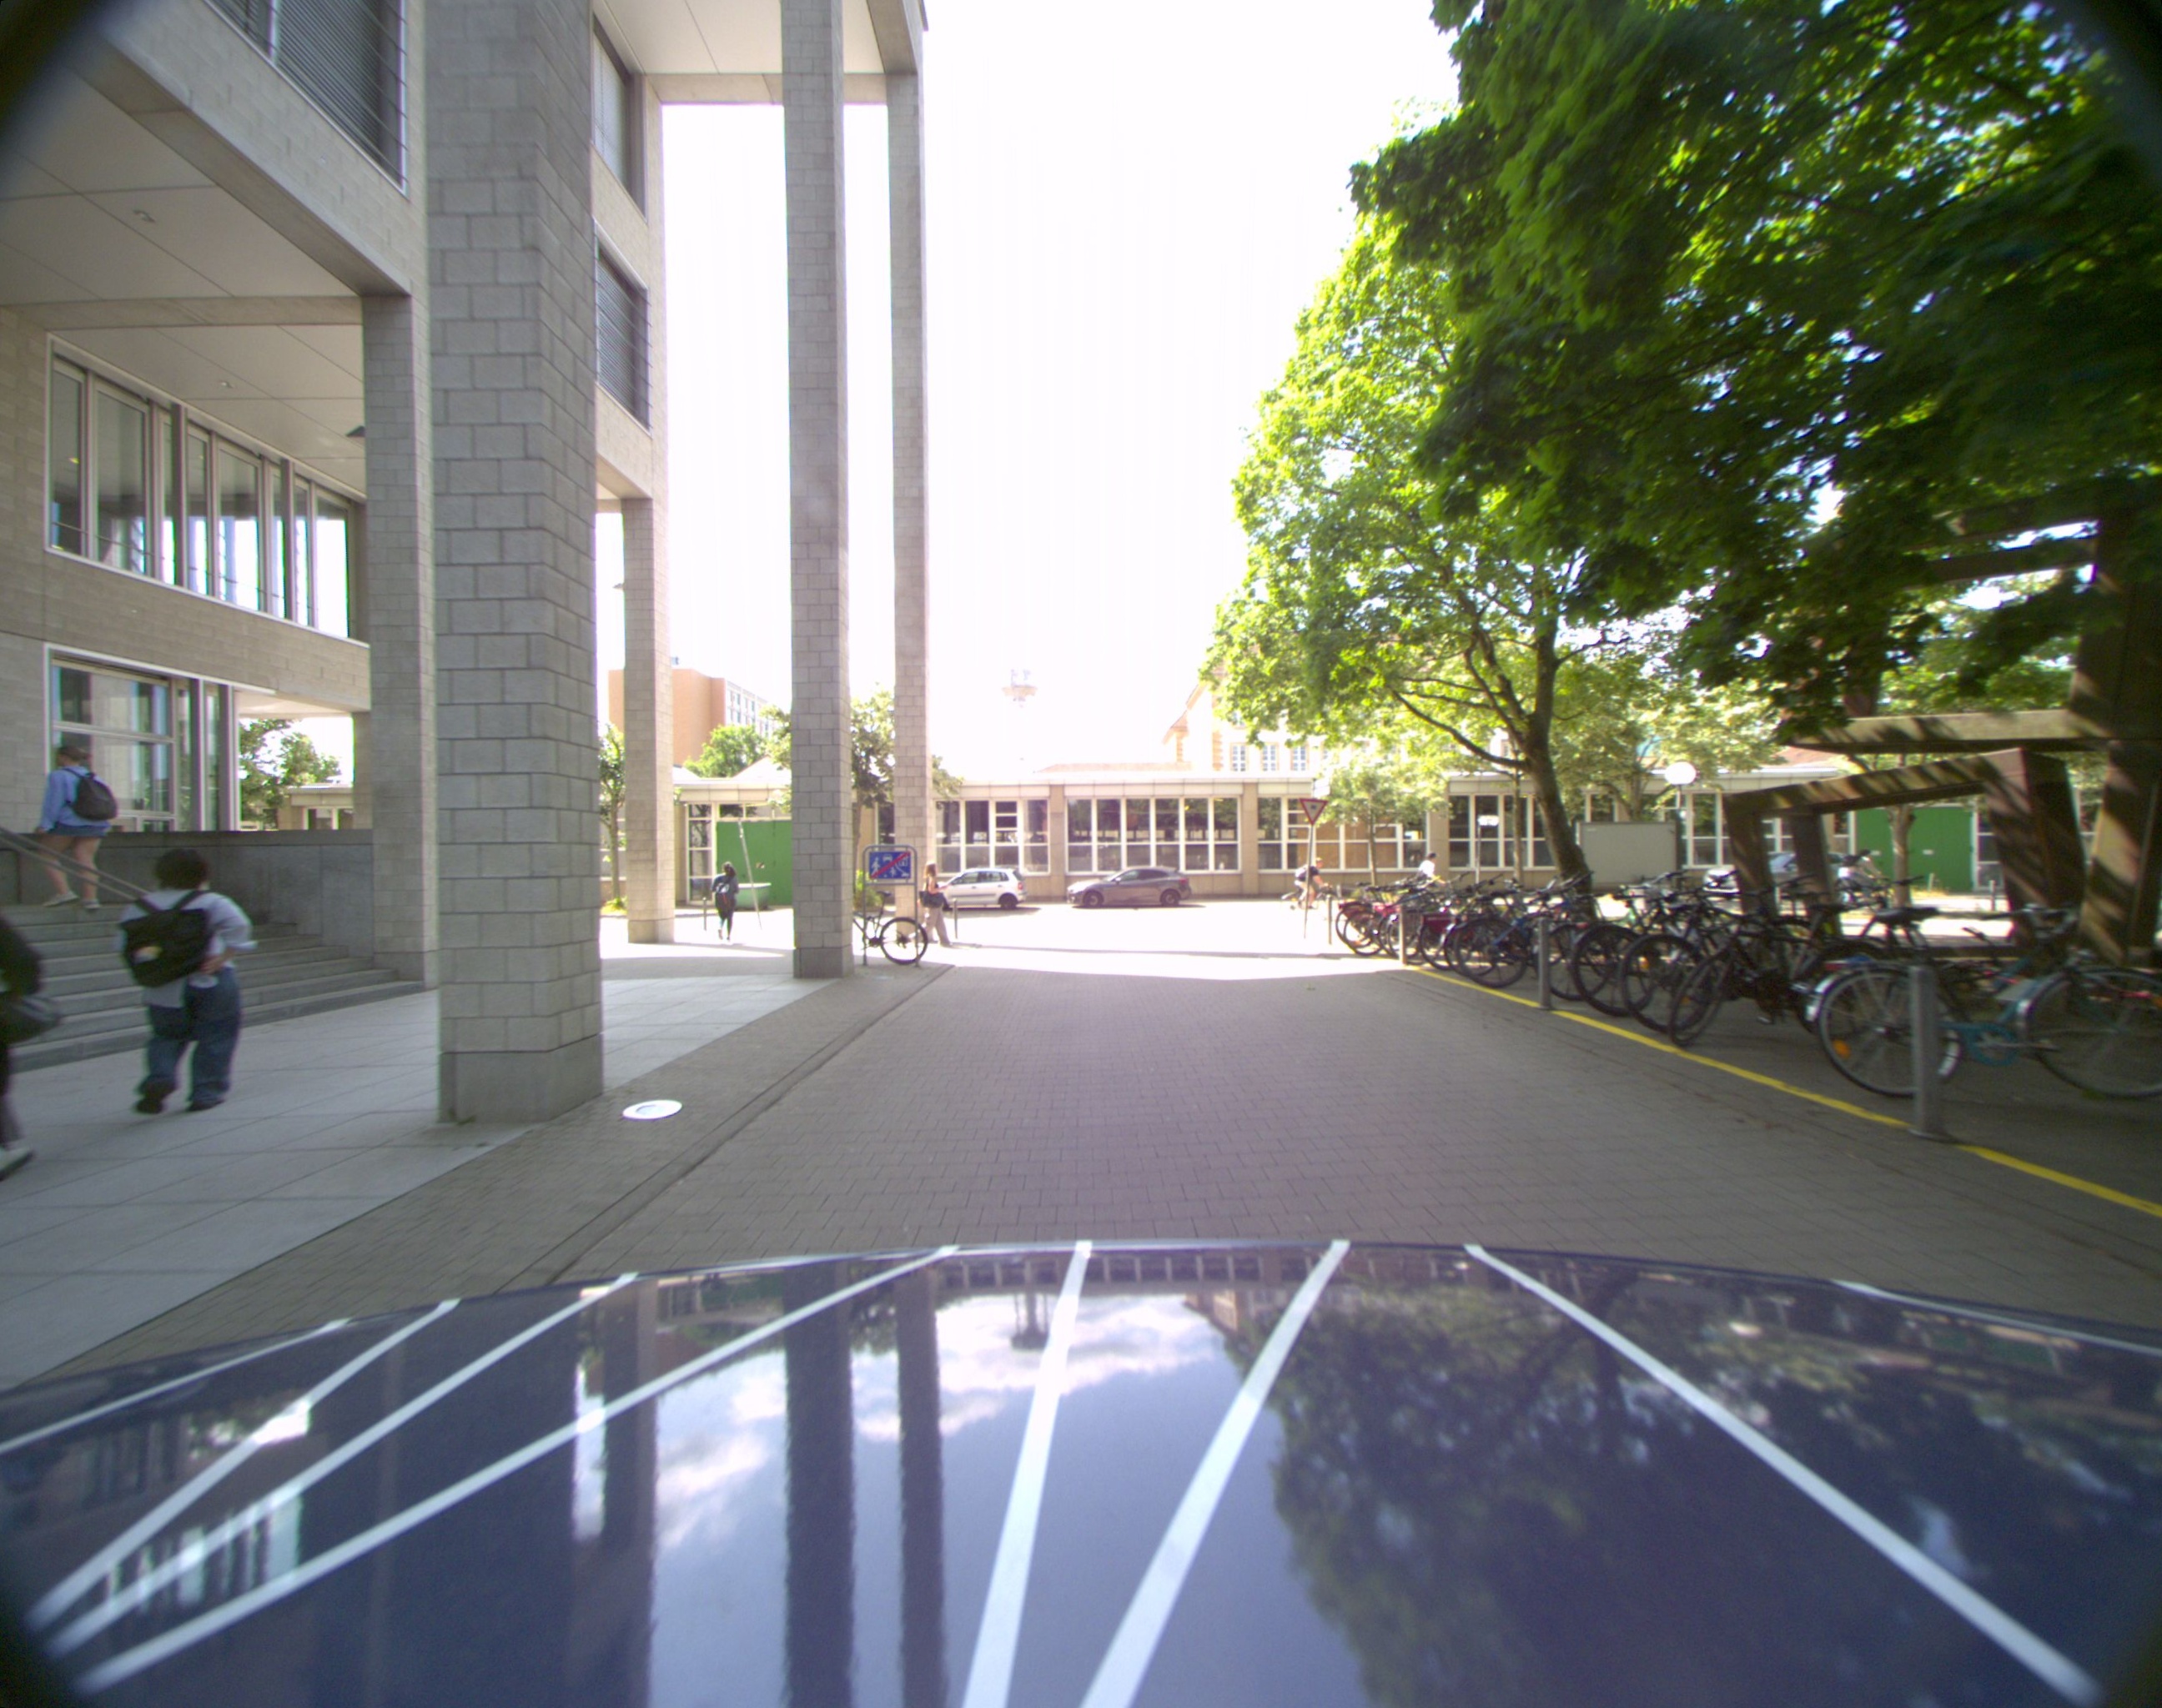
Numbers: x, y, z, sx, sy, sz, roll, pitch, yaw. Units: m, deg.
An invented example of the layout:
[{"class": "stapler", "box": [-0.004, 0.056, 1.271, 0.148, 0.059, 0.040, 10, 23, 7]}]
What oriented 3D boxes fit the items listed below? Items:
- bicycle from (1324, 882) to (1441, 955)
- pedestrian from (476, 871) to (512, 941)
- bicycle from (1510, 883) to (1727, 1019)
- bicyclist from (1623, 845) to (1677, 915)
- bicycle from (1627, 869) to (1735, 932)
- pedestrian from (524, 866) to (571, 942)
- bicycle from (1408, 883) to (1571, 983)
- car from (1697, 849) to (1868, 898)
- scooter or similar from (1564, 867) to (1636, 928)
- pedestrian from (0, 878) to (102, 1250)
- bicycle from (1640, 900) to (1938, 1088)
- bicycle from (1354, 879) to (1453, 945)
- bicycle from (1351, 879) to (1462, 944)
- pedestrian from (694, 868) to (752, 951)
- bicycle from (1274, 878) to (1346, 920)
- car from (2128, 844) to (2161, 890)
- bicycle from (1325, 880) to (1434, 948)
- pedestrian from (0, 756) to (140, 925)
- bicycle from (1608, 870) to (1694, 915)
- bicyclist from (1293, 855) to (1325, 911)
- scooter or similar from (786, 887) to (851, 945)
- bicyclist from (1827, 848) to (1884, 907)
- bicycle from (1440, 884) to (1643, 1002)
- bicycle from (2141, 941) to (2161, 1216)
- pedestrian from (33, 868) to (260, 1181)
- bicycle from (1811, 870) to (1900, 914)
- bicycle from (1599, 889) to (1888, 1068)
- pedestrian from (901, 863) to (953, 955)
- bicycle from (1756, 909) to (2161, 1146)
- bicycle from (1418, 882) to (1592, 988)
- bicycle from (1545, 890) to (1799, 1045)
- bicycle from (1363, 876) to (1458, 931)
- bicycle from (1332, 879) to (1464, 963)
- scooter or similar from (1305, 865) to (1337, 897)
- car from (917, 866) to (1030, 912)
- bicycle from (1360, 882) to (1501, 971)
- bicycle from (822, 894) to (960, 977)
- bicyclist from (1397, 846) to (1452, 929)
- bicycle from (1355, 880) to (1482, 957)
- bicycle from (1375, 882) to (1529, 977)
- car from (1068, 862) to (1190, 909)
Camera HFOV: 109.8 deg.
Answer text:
[{"class": "bicycle", "box": [4.749, 1.004, 12.034, 1.628, 1.101, 0.497, -1, -1, 0]}, {"class": "pedestrian", "box": [-13.890, 1.214, 17.972, 0.591, 1.589, 0.824, -1, 0, -43]}, {"class": "bicycle", "box": [4.930, 0.877, 7.022, 1.628, 1.144, 0.497, -2, 1, 1]}, {"class": "bicyclist", "box": [15.725, 0.694, 21.024, 0.969, 1.877, 0.675, -2, 1, -2]}, {"class": "bicycle", "box": [11.280, 0.866, 14.297, 1.839, 1.101, 0.393, -2, 1, -6]}, {"class": "pedestrian", "box": [-12.414, 1.135, 17.683, 0.781, 1.714, 0.858, -1, 0, -41]}, {"class": "bicycle", "box": [4.843, 0.931, 9.075, 1.628, 1.101, 0.506, -2, 1, 5]}, {"class": "car", "box": [25.132, 0.664, 27.338, 4.536, 1.608, 1.837, -1, 1, -2]}, {"class": "scooter or similar", "box": [10.589, 0.875, 15.514, 1.182, 1.188, 0.293, -1, 0, 36]}, {"class": "pedestrian", "box": [-5.205, 0.931, 3.409, 0.809, 1.608, 0.739, -1, 1, -37]}, {"class": "bicycle", "box": [4.741, 0.906, 5.124, 1.629, 1.101, 0.497, -2, 1, -5]}, {"class": "bicycle", "box": [5.999, 1.067, 14.158, 1.625, 1.152, 0.641, -2, -2, 29]}, {"class": "bicycle", "box": [5.787, 1.008, 13.537, 1.742, 1.101, 0.591, -2, -2, 30]}, {"class": "pedestrian", "box": [-7.088, 1.075, 15.074, 0.820, 1.565, 0.880, -1, 0, -11]}, {"class": "bicycle", "box": [6.370, 1.247, 21.178, 1.829, 1.102, 0.605, -1, 2, 2]}, {"class": "car", "box": [40.985, 0.427, 27.227, 4.536, 1.624, 1.838, -1, 0, -2]}, {"class": "bicycle", "box": [5.055, 1.015, 12.928, 1.628, 1.101, 0.497, -1, -1, 0]}, {"class": "pedestrian", "box": [-10.827, -0.131, 8.047, 0.866, 1.714, 0.644, -1, 0, -4]}, {"class": "bicycle", "box": [15.750, 1.065, 21.031, 1.885, 1.134, 0.675, -2, 1, -2]}, {"class": "bicyclist", "box": [6.351, 0.795, 21.169, 0.727, 1.526, 0.605, -1, 2, 2]}, {"class": "scooter or similar", "box": [-5.400, 1.268, 15.663, 1.157, 1.144, 0.444, -1, 0, 5]}, {"class": "bicyclist", "box": [20.916, 0.615, 20.525, 0.874, 1.565, 0.640, -1, 2, -4]}, {"class": "bicycle", "box": [4.680, 0.894, 7.807, 1.628, 1.101, 0.691, -2, 1, 5]}, {"class": "bicycle", "box": [5.086, 0.889, 2.658, 1.627, 1.101, 0.563, -2, 1, 14]}, {"class": "pedestrian", "box": [-5.598, 0.922, 4.621, 0.676, 1.660, 0.897, -1, 0, -39]}, {"class": "bicycle", "box": [20.923, 1.017, 20.545, 1.819, 1.102, 0.640, -1, 2, -4]}, {"class": "bicycle", "box": [4.870, 0.885, 5.619, 1.784, 1.155, 0.497, -2, 1, -5]}, {"class": "pedestrian", "box": [-2.852, 0.996, 14.152, 0.882, 1.645, 0.702, -1, 0, -7]}, {"class": "bicycle", "box": [4.943, 0.894, 4.163, 1.724, 1.101, 0.719, -2, 1, 11]}, {"class": "bicycle", "box": [4.724, 0.901, 8.528, 1.628, 1.101, 0.497, -2, 1, 5]}, {"class": "bicycle", "box": [4.825, 0.897, 6.254, 1.629, 1.101, 0.645, -2, 1, -5]}, {"class": "bicycle", "box": [7.638, 1.124, 17.638, 1.886, 1.165, 0.804, -1, 1, -9]}, {"class": "bicycle", "box": [4.474, 0.942, 10.780, 1.628, 1.101, 0.497, -2, 1, 5]}, {"class": "scooter or similar", "box": [9.563, 1.076, 30.235, 1.157, 1.219, 0.290, -1, 0, 3]}, {"class": "car", "box": [-3.802, 1.221, 27.254, 3.776, 1.468, 1.653, -1, 2, 0]}, {"class": "bicycle", "box": [4.673, 0.963, 10.210, 1.628, 1.101, 0.497, -2, 1, 5]}, {"class": "bicycle", "box": [-2.761, 1.180, 11.176, 1.886, 1.157, 0.605, 1, -1, -5]}, {"class": "bicyclist", "box": [7.974, 0.762, 17.677, 0.868, 1.880, 0.804, 0, 0, -9]}, {"class": "bicycle", "box": [4.959, 0.949, 11.256, 1.627, 1.101, 0.497, -1, -2, 12]}, {"class": "bicycle", "box": [4.672, 0.944, 9.646, 1.628, 1.101, 0.629, -2, 1, 5]}, {"class": "car", "box": [1.676, 1.102, 27.378, 4.208, 1.468, 1.653, -2, 2, 0]}]
